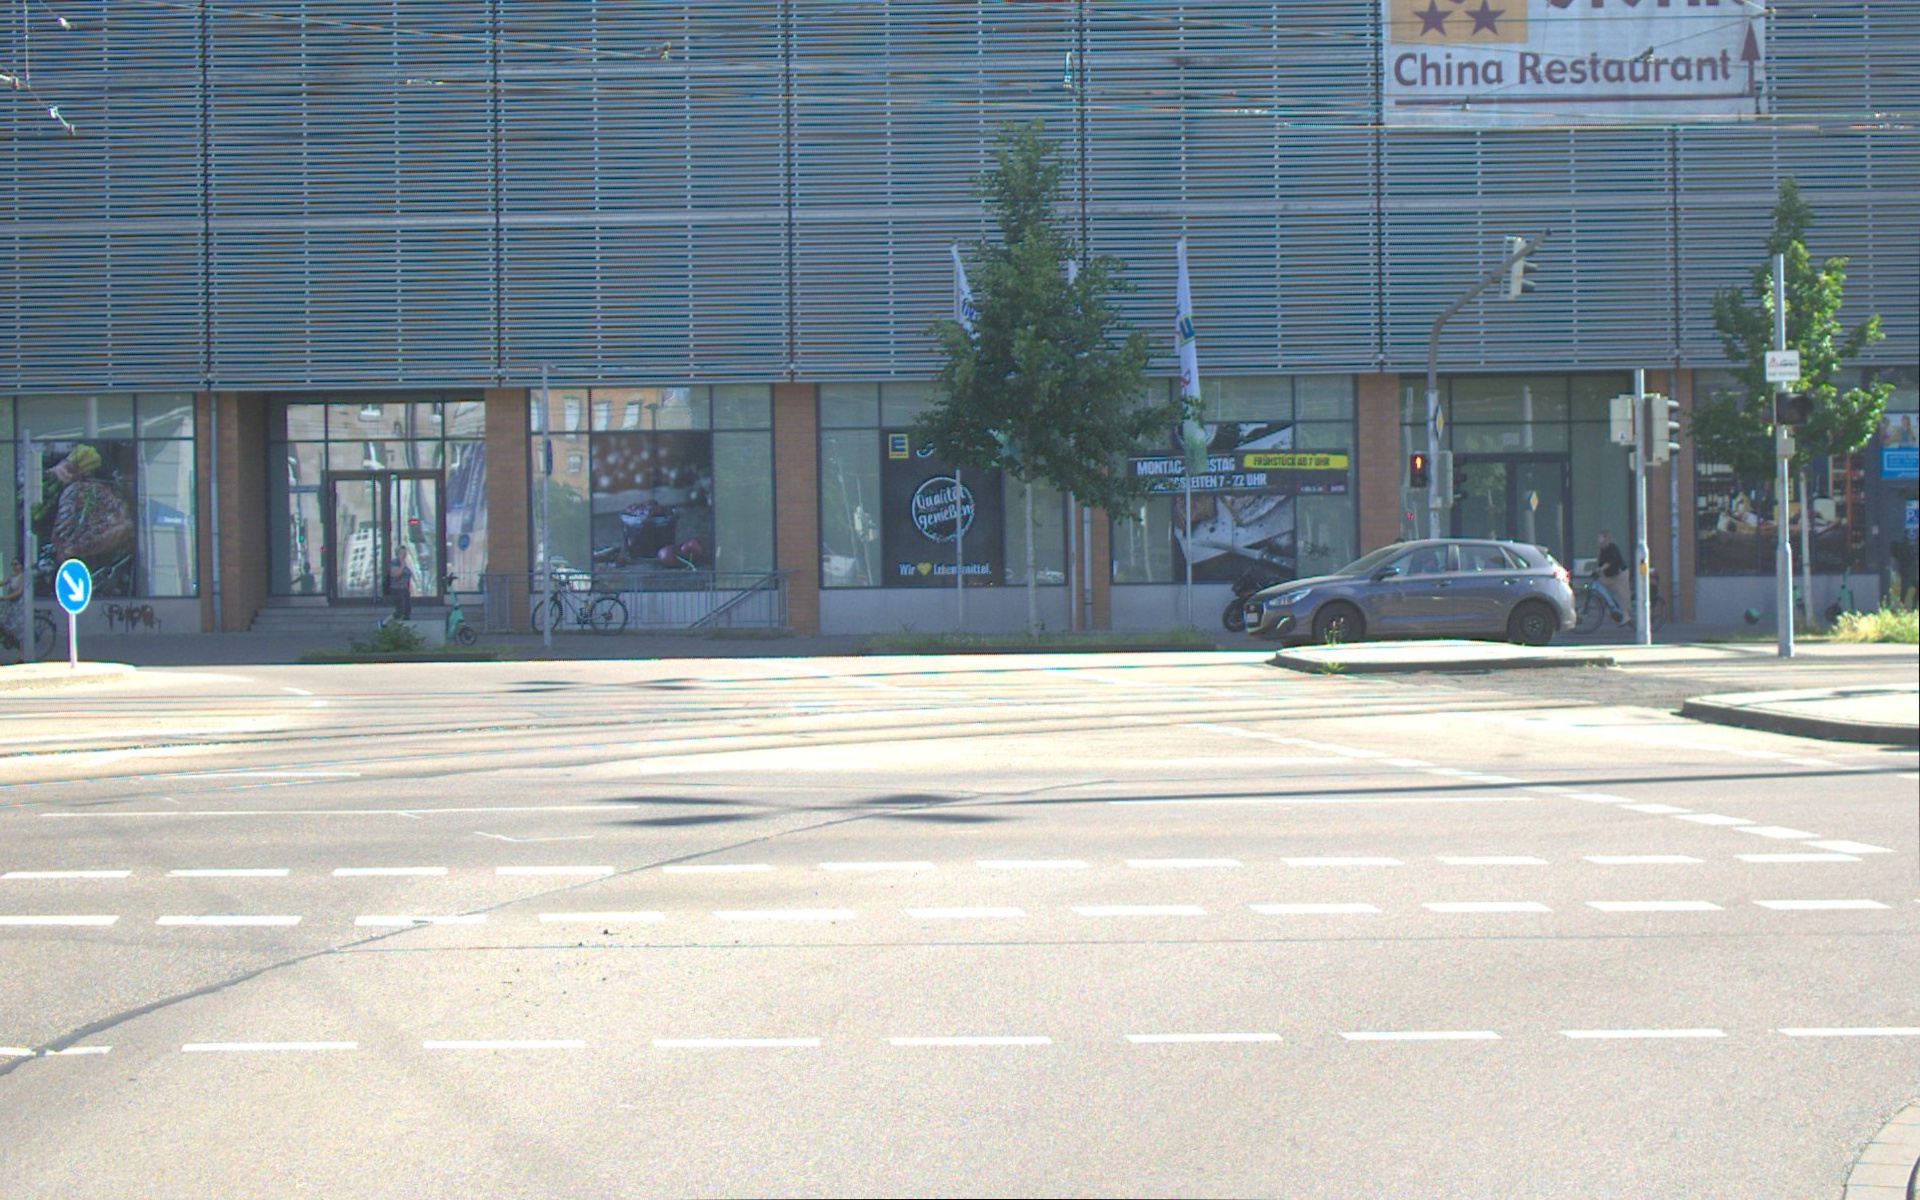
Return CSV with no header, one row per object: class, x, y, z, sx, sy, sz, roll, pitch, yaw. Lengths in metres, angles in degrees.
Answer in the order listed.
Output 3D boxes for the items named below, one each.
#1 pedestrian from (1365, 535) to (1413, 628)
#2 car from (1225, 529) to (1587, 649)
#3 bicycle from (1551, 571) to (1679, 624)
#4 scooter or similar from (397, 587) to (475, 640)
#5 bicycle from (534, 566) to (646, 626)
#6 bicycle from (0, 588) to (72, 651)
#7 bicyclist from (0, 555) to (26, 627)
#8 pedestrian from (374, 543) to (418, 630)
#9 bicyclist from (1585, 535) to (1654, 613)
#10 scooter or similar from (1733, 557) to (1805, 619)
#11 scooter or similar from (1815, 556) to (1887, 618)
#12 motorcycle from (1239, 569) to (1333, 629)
pedestrian,6.922,-0.304,55.490,0.739,1.482,0.490,0,1,10
car,5.835,-0.162,45.172,4.294,1.494,2.001,-1,1,-11
bicycle,11.149,-0.045,58.554,2.041,0.864,0.682,-1,1,-1
scooter or similar,-8.586,0.216,56.342,1.223,0.848,0.301,-1,1,-3
bicycle,-6.517,-0.077,60.586,1.944,1.035,0.573,-1,1,-4
bicycle,-15.245,0.320,54.803,2.015,0.982,0.560,-1,1,-33
bicyclist,-15.254,-0.146,54.801,0.562,1.136,0.560,-1,1,-33
pedestrian,-9.892,-0.232,60.267,0.647,1.514,0.491,-1,1,5
bicyclist,11.232,-0.447,58.549,1.036,1.314,0.682,-1,1,-1
scooter or similar,14.536,-0.222,61.768,1.202,1.099,0.277,1,0,2
scooter or similar,16.052,-0.231,61.927,1.202,1.099,0.277,1,0,2
motorcycle,5.743,-0.021,60.666,1.614,1.035,0.402,-1,1,1
